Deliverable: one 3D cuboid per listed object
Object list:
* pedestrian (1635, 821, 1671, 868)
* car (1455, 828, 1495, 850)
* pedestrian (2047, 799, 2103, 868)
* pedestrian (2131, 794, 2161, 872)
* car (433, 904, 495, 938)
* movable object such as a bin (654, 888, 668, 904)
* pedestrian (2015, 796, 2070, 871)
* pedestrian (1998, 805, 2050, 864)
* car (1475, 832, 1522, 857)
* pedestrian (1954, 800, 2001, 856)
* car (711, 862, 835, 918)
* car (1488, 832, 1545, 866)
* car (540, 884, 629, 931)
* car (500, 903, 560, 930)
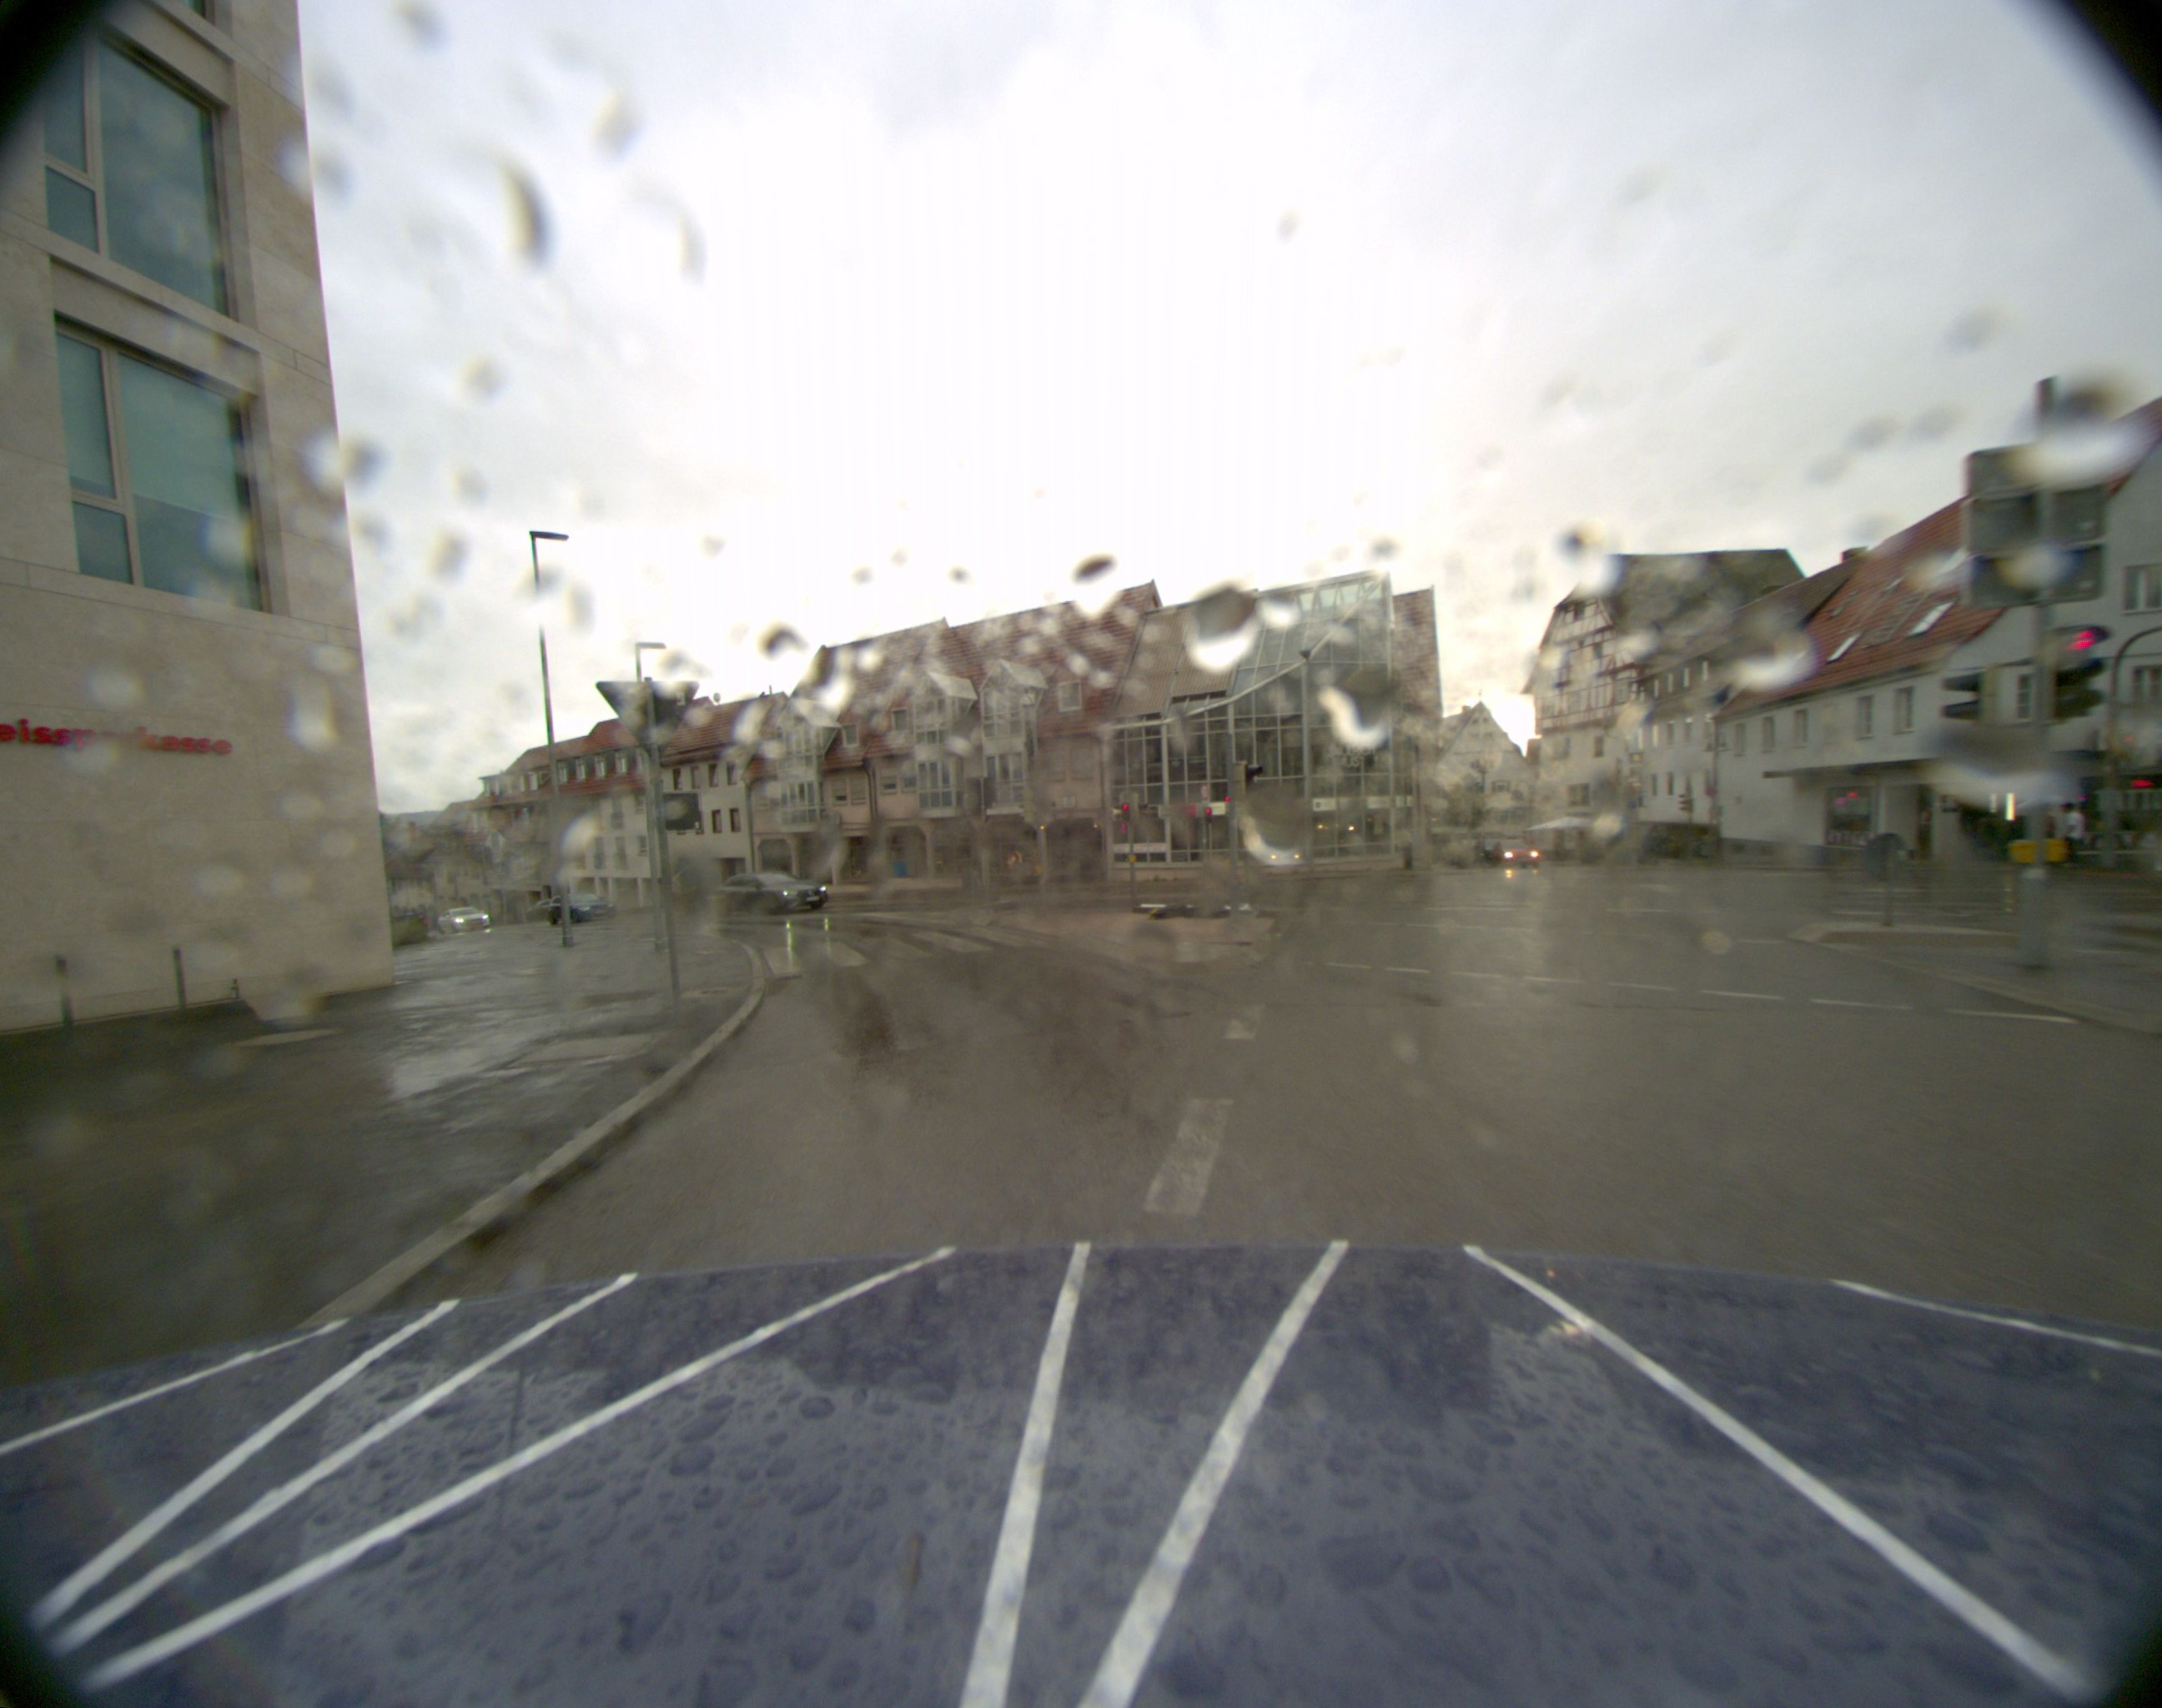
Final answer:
[{"bbox_3d":[24.604,-0.390,32.685,0.785,1.927,0.982,-5,1,-34],"label":"pedestrian"},{"bbox_3d":[25.777,-1.000,49.817,1.741,1.281,3.235,-4,1,18],"label":"car"},{"bbox_3d":[26.180,-0.539,20.029,0.633,1.764,0.595,-3,1,20],"label":"pedestrian"},{"bbox_3d":[26.259,-0.531,18.390,0.747,1.857,0.605,-3,1,20],"label":"pedestrian"},{"bbox_3d":[-37.671,4.087,46.379,4.373,1.598,1.972,-8,0,39],"label":"car"},{"bbox_3d":[-27.531,2.761,49.797,0.584,1.001,0.510,-6,2,34],"label":"movable object such as a bin"},{"bbox_3d":[24.589,-0.520,19.445,0.633,1.861,0.537,-3,1,20],"label":"pedestrian"},{"bbox_3d":[25.528,-0.531,20.579,0.633,1.550,0.595,-3,1,20],"label":"pedestrian"},{"bbox_3d":[23.794,-0.567,43.416,1.741,1.281,3.235,-4,1,18],"label":"car"},{"bbox_3d":[26.108,-0.751,22.146,0.633,1.550,0.595,-3,1,20],"label":"pedestrian"},{"bbox_3d":[-11.058,1.326,27.155,4.611,1.549,1.972,-6,1,39],"label":"car"},{"bbox_3d":[21.954,-0.288,38.446,1.741,1.498,3.687,-4,1,18],"label":"car"},{"bbox_3d":[-24.211,2.622,37.016,4.373,1.759,1.972,-8,0,35],"label":"car"},{"bbox_3d":[-35.709,4.047,49.178,3.990,1.458,1.896,-5,0,36],"label":"car"}]
